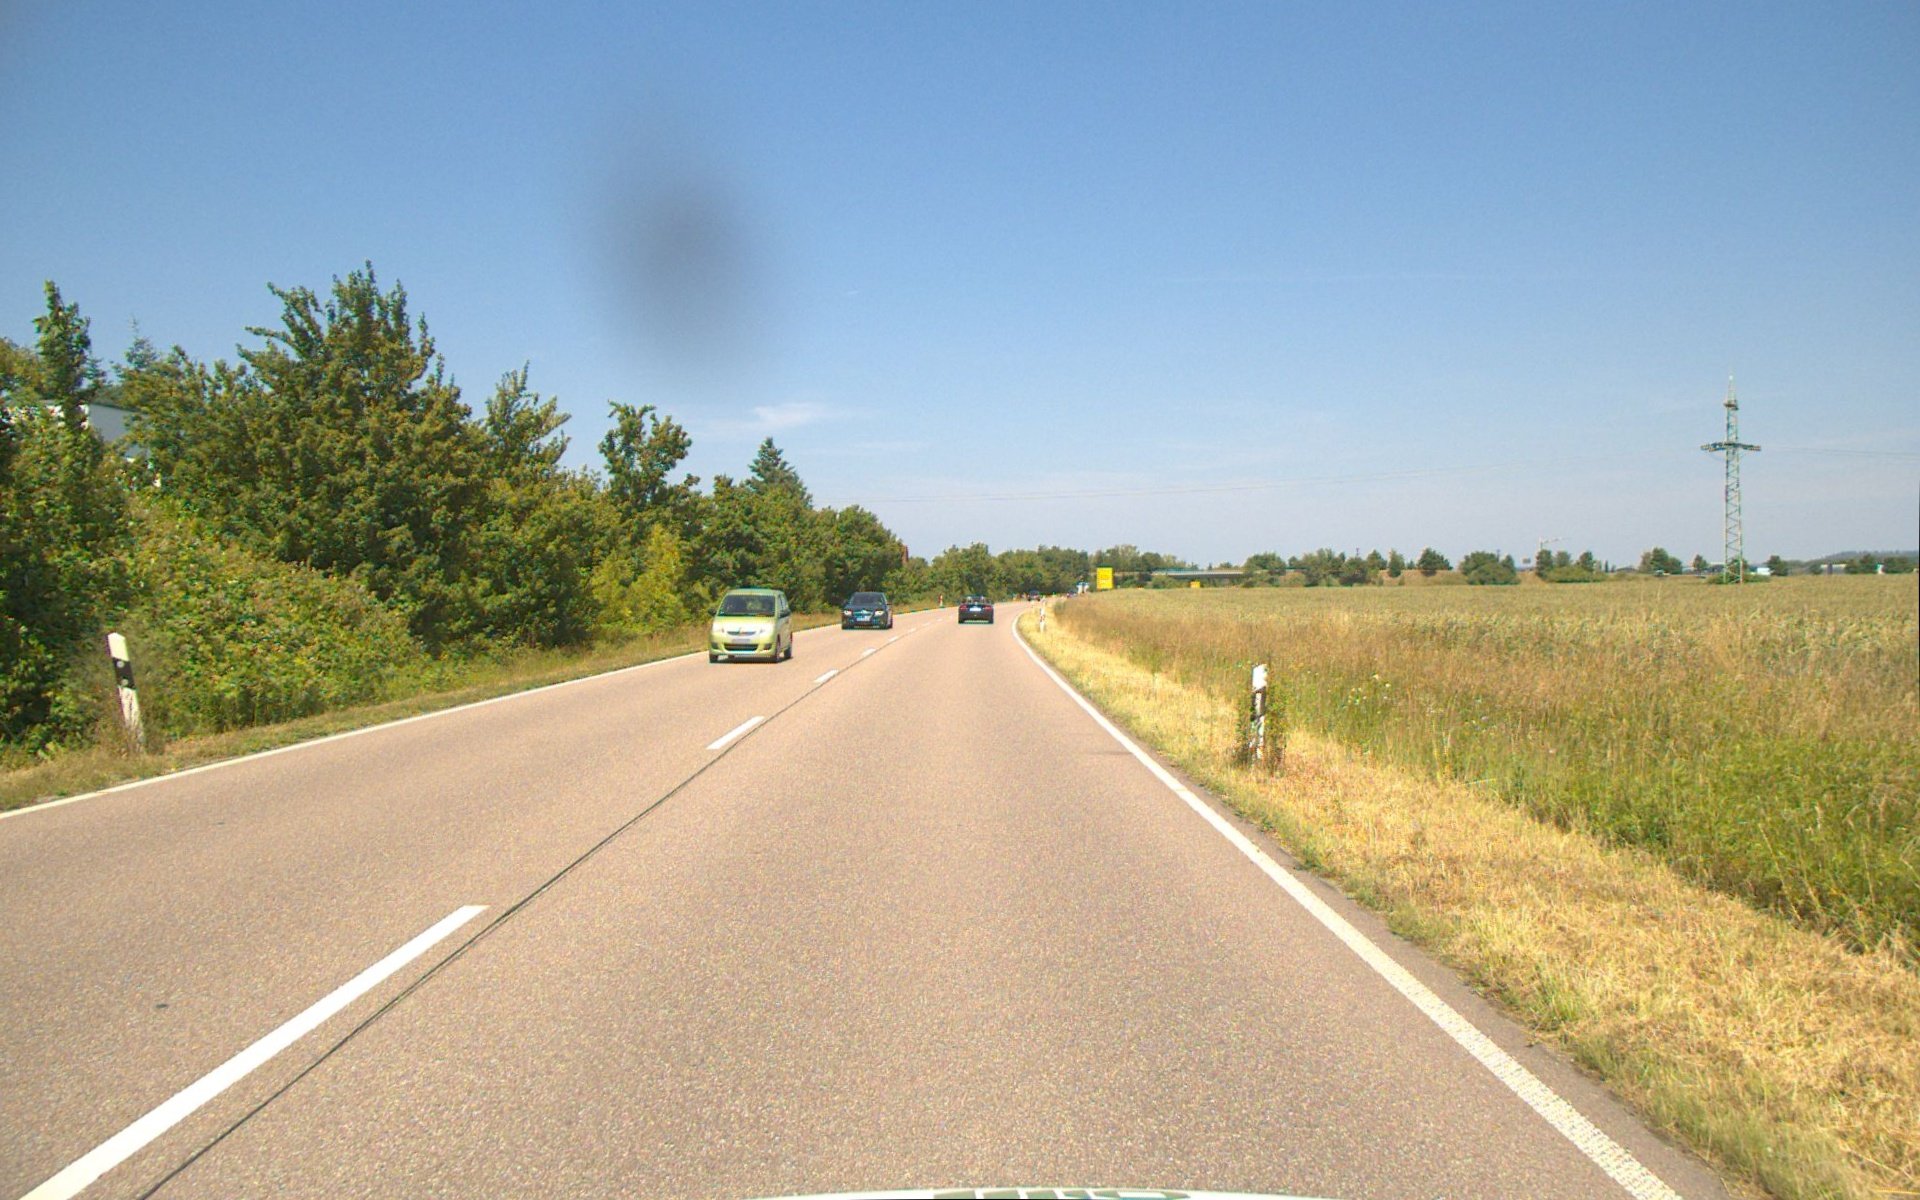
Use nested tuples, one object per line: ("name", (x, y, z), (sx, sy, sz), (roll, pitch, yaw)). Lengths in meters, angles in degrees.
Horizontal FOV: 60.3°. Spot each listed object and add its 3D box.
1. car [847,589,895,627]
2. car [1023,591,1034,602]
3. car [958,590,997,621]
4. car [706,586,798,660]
("car", (-3.589, 0.306, 67.219), (1.764, 1.476, 4.532), (0, 0, -1))
("car", (10.434, -0.534, 251.460), (1.663, 1.594, 3.673), (-1, 0, 3))
("car", (0.879, 0.280, 81.823), (1.776, 1.466, 4.001), (1, 0, 2))
("car", (-4.489, 0.475, 36.115), (1.466, 1.521, 3.832), (0, 0, 1))
